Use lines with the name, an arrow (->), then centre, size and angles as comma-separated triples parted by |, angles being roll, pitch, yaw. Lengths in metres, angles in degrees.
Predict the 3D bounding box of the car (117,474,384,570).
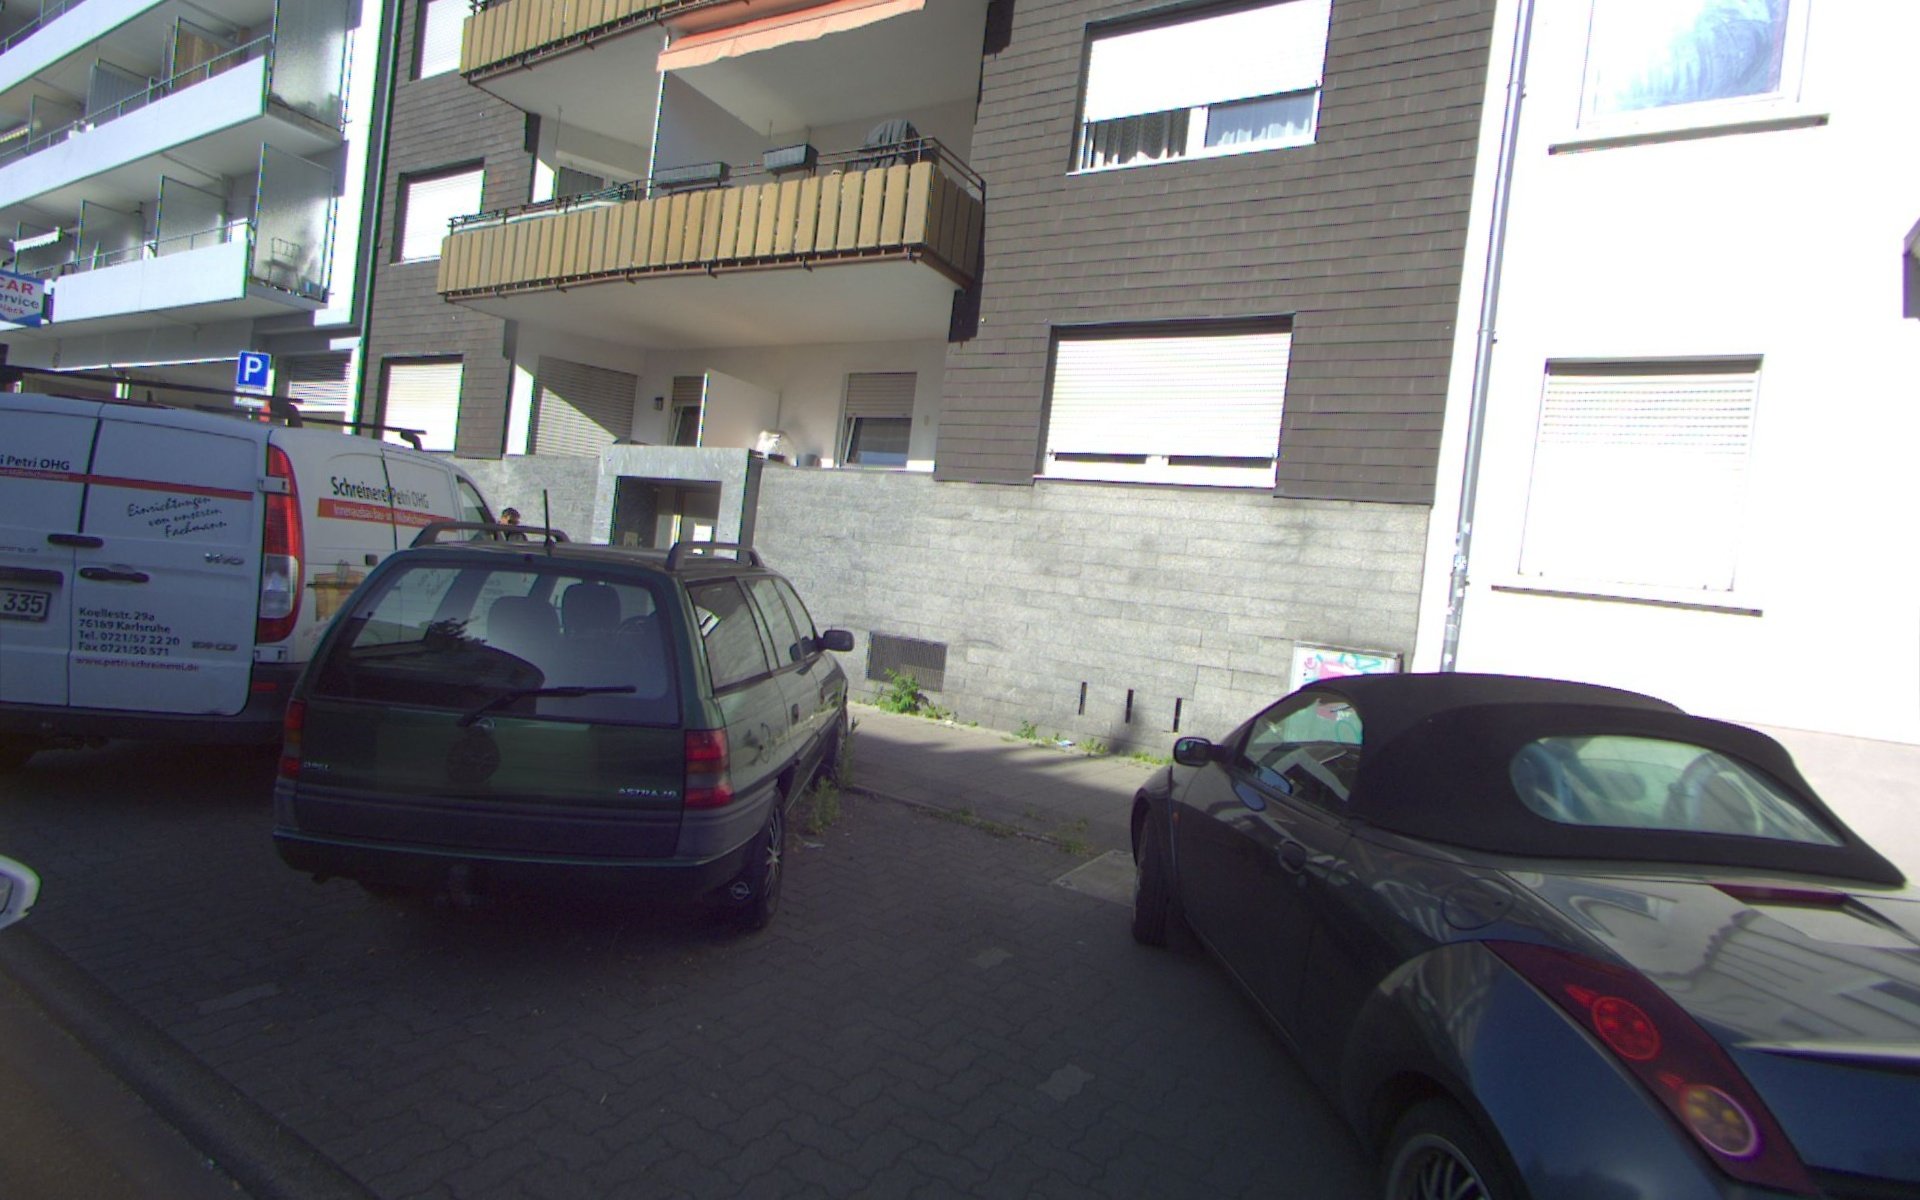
car -> -15.607, -1.670, 22.383 | 1.946, 1.532, 4.393 | 6, 1, 31

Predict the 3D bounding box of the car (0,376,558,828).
car -> -4.318, -0.087, 6.625 | 2.014, 1.924, 4.519 | 4, 2, -9

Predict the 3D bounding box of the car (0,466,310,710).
car -> -7.265, -0.217, 8.279 | 1.728, 1.532, 4.315 | 6, 1, -13

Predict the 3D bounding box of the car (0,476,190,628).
car -> -10.375, -0.567, 10.521 | 1.662, 1.485, 4.636 | 5, 1, -10

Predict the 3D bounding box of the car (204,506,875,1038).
car -> -1.463, 0.461, 5.049 | 1.586, 1.510, 3.992 | 4, 2, 1

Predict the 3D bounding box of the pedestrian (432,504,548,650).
pedestrian -> -5.584, -0.266, 11.959 | 0.875, 1.614, 0.832 | 7, 2, 37

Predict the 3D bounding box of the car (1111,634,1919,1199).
car -> 1.756, 0.970, 3.123 | 1.513, 1.405, 3.392 | 7, 0, -8
